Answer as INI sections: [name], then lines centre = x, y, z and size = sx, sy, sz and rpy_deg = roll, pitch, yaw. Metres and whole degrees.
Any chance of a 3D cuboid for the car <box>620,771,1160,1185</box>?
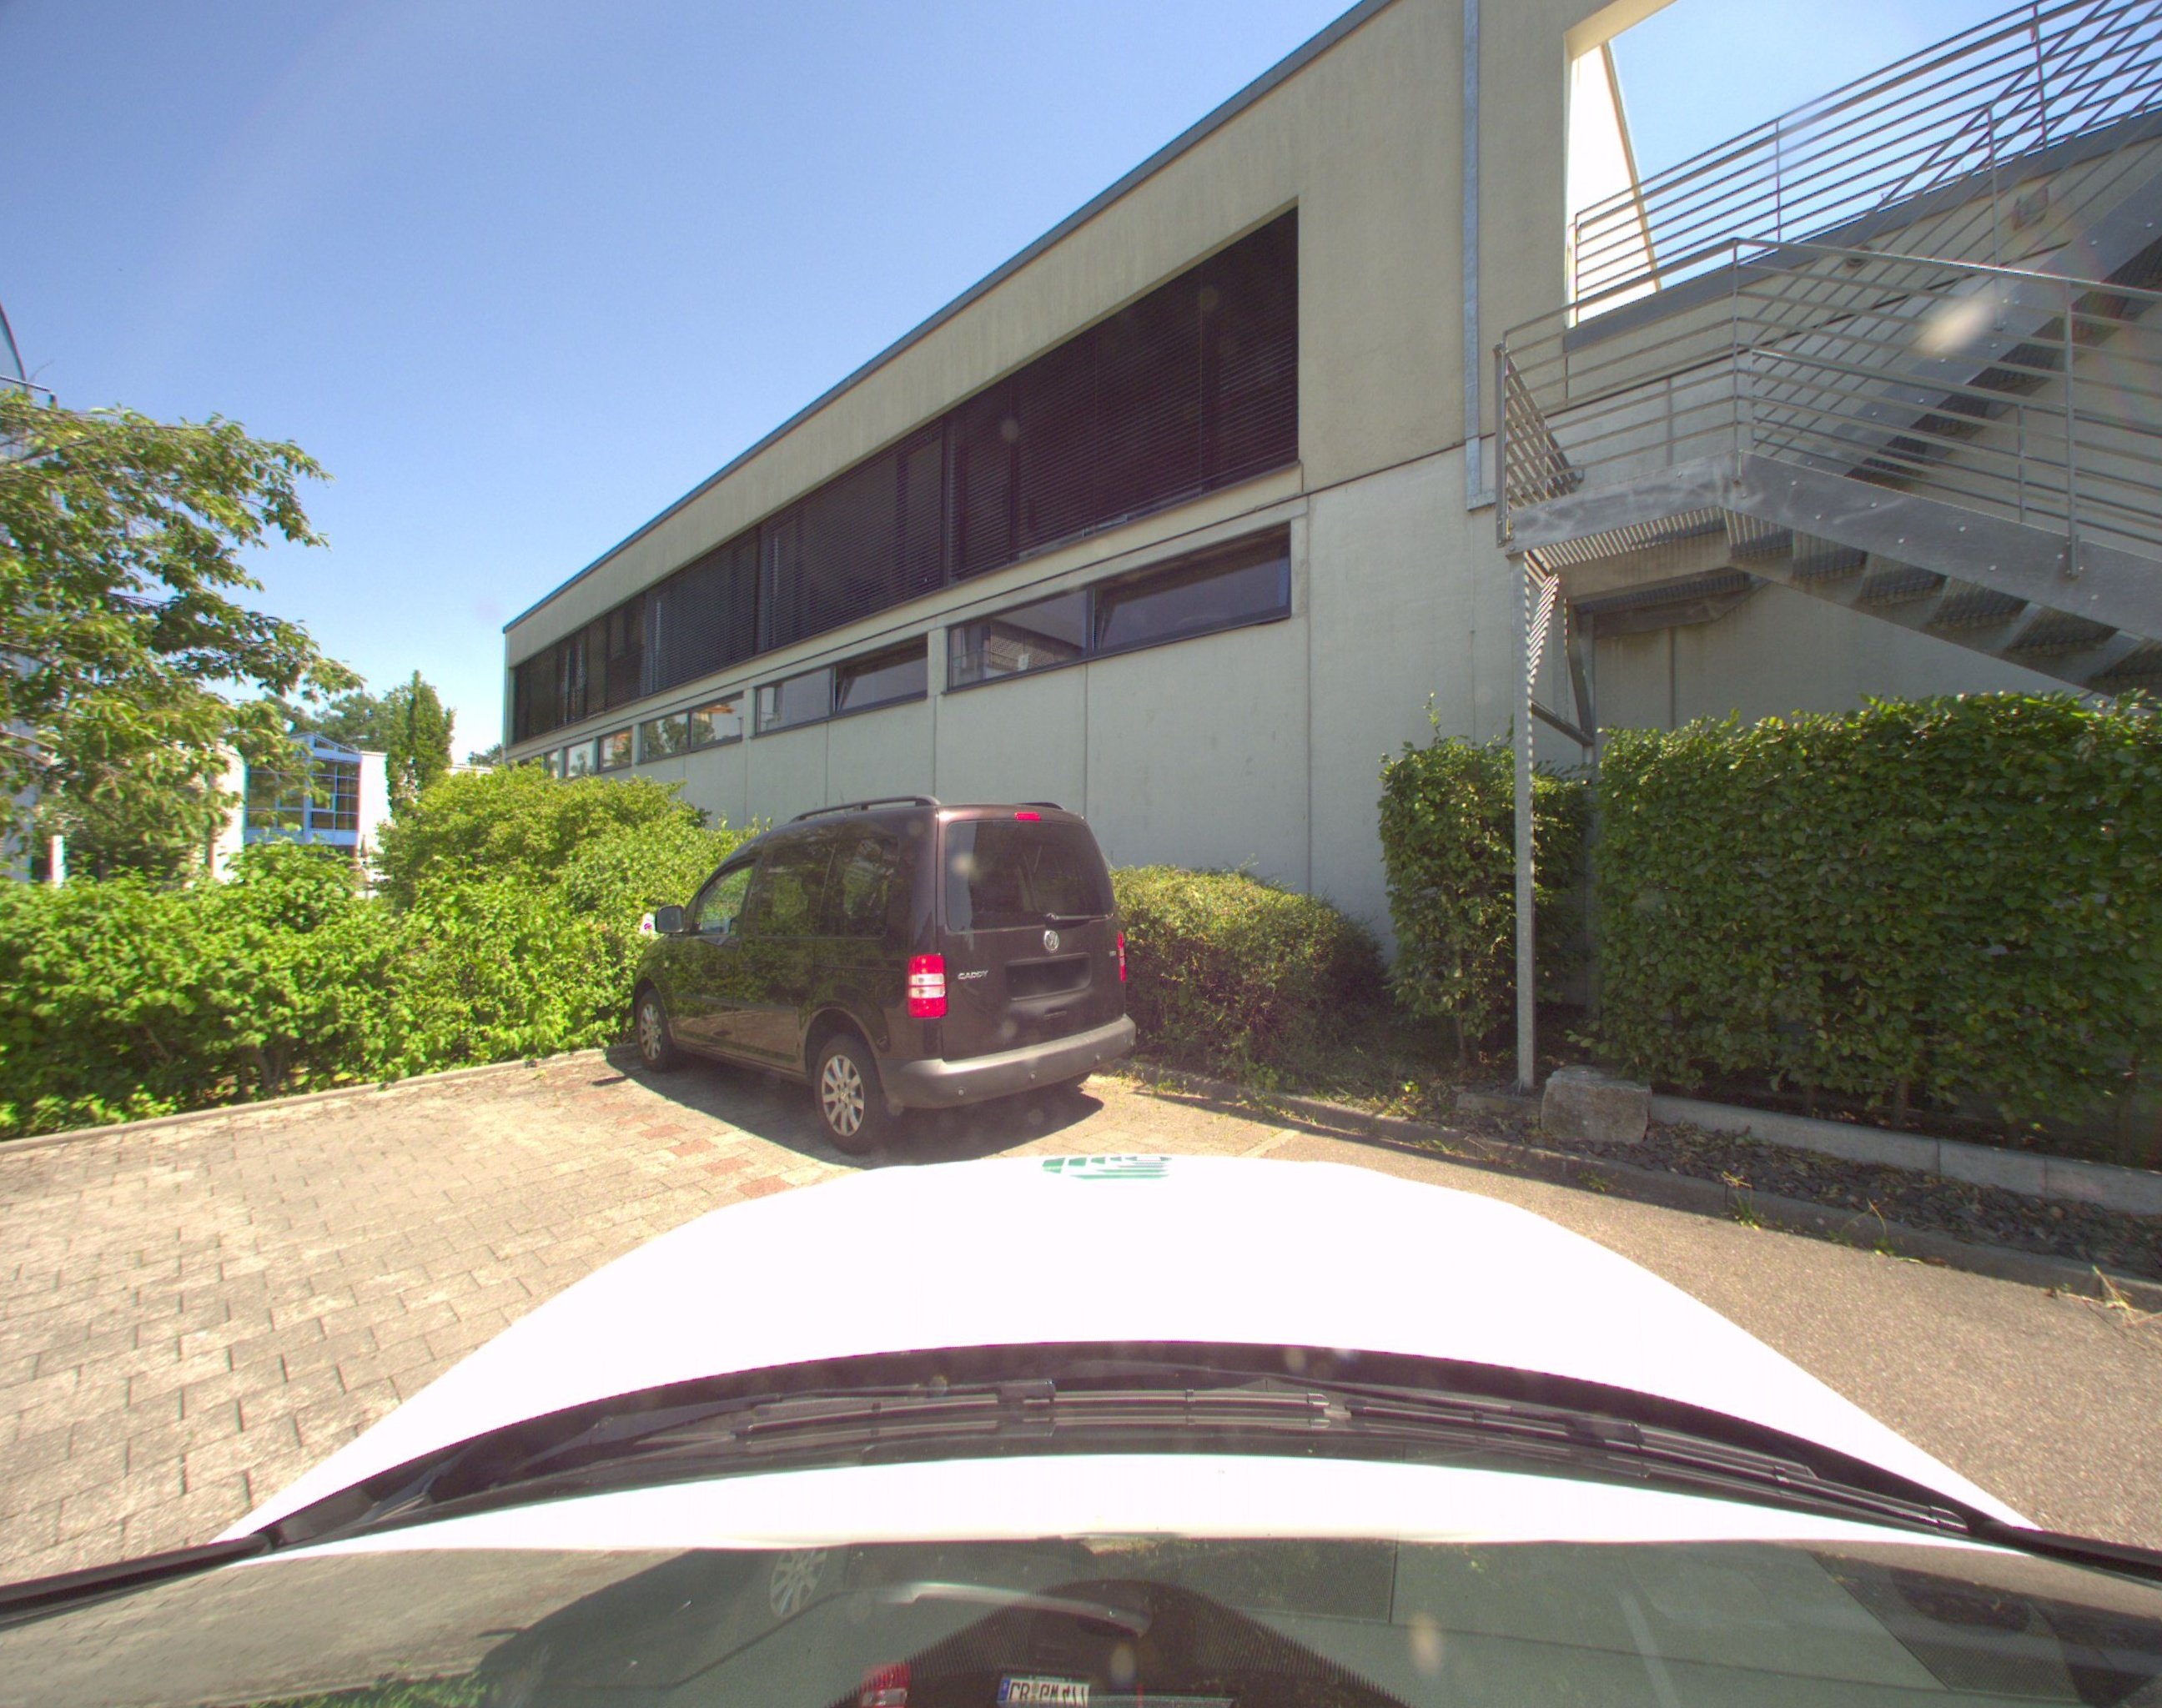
[car]
centre = -1.578, 0.583, 5.693
size = 4.020, 1.884, 1.689
rpy_deg = -1, -1, 42
